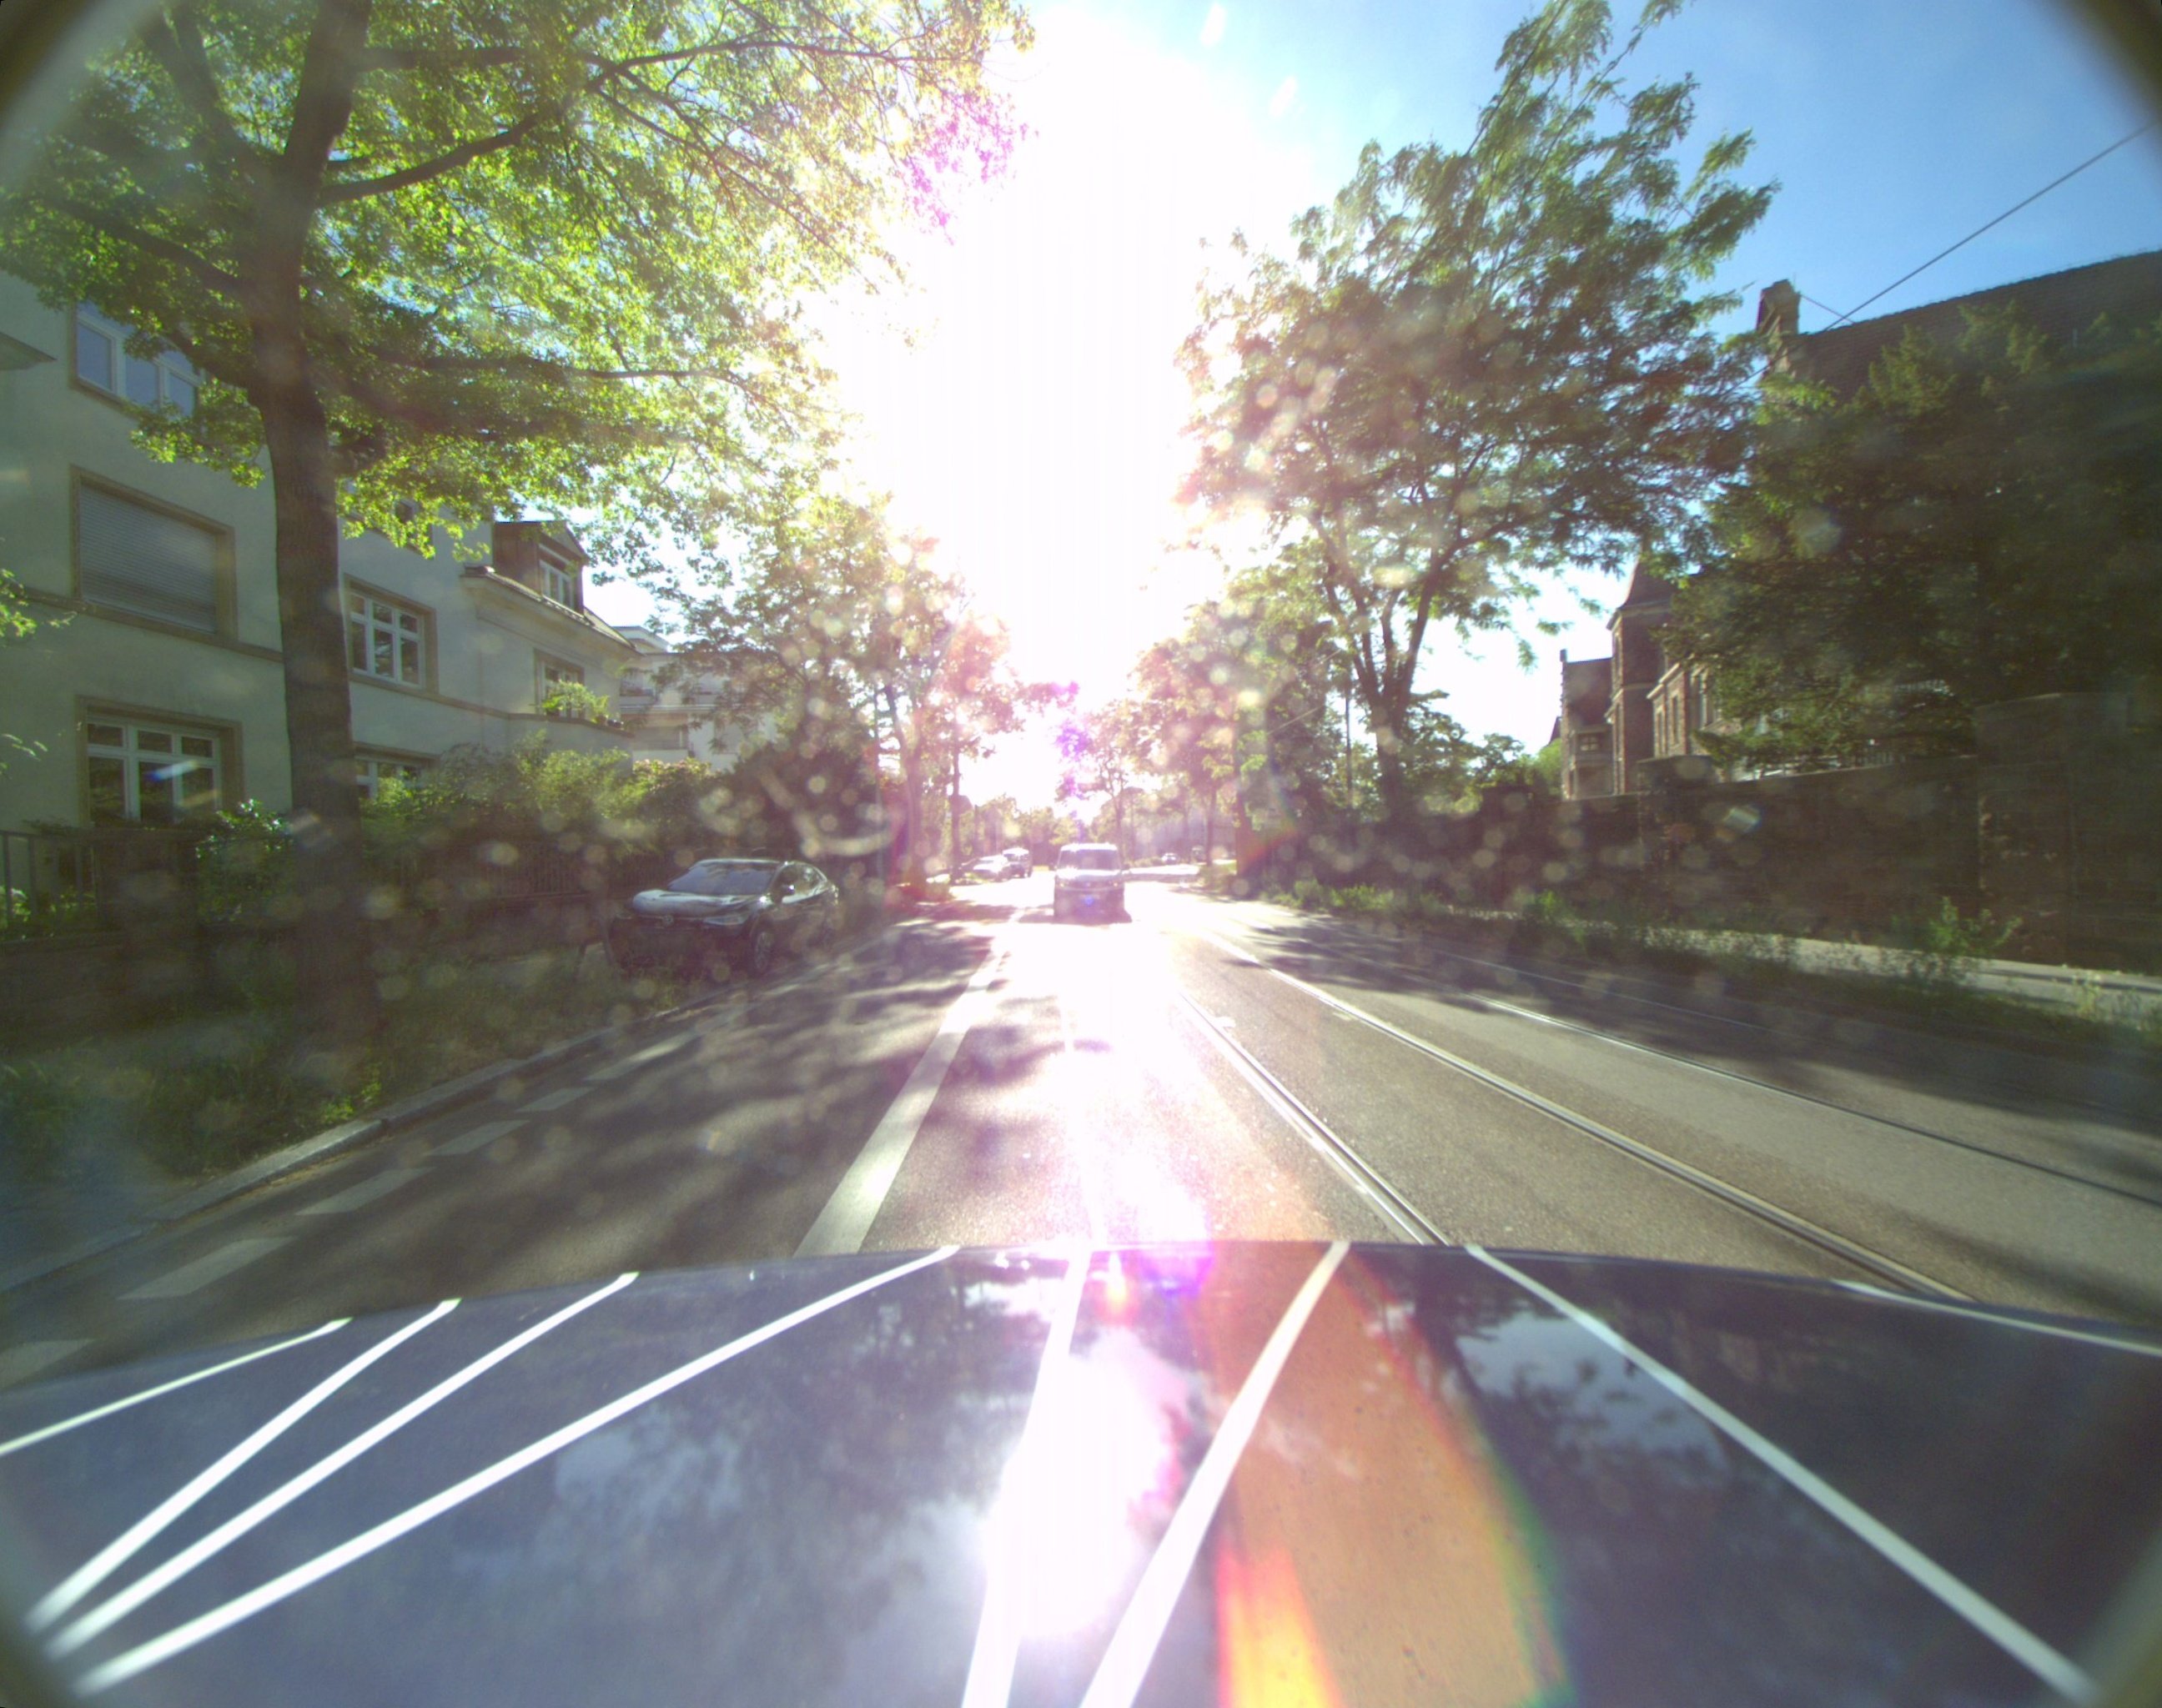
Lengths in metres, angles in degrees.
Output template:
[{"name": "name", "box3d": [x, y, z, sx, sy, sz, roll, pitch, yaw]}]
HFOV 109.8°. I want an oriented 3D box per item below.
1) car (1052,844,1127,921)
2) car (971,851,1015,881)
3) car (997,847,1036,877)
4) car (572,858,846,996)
[{"name": "car", "box3d": [0.189, 0.675, 20.115, 1.768, 1.812, 3.999, -1, 0, 0]}, {"name": "car", "box3d": [-5.174, 0.662, 45.225, 1.823, 1.630, 4.001, -2, 0, 4]}, {"name": "car", "box3d": [-4.358, 0.501, 51.777, 2.129, 1.884, 4.746, -2, 0, 1]}, {"name": "car", "box3d": [-5.252, 0.932, 11.543, 1.999, 1.665, 4.380, 1, -1, 0]}]
